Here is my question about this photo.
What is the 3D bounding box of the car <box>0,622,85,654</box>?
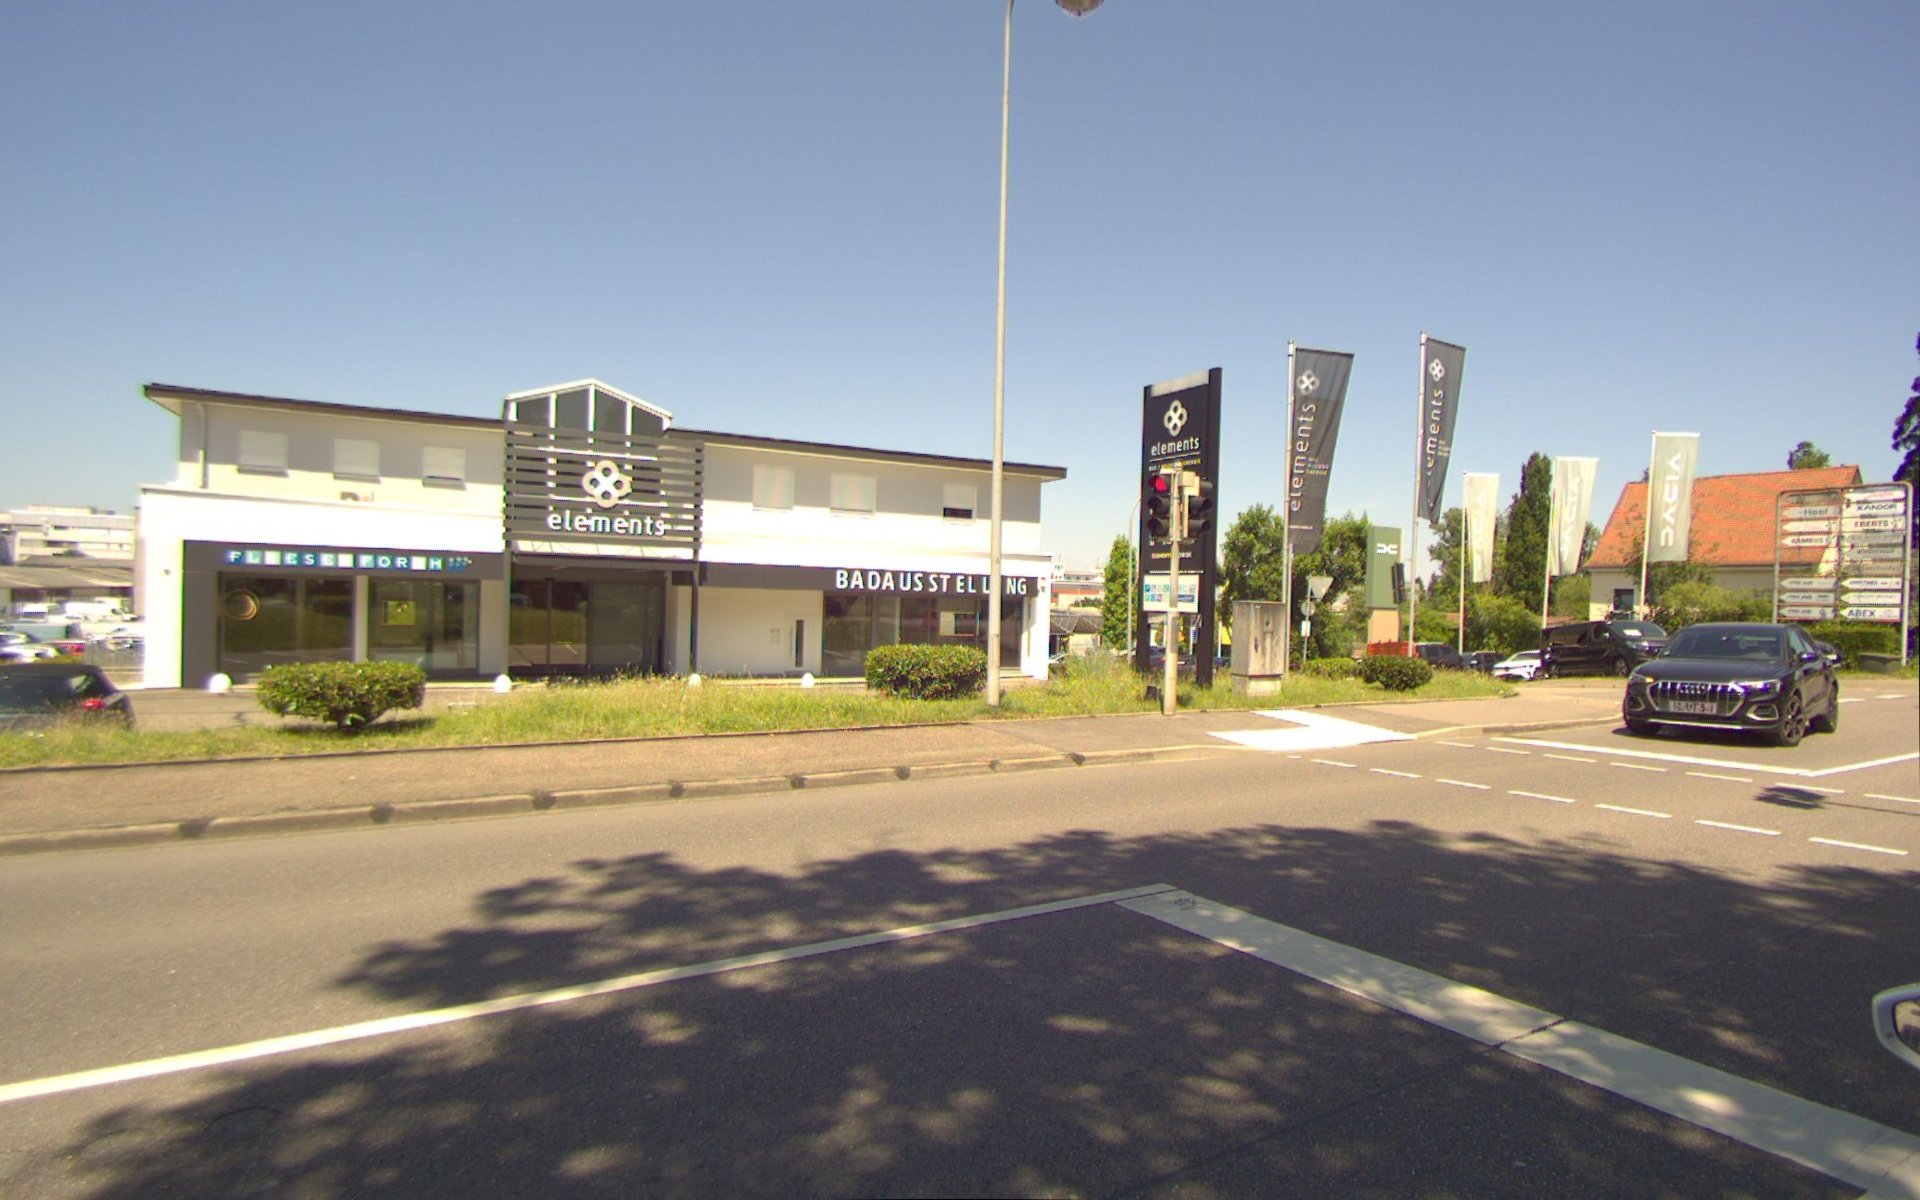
[{"bbox_3d":[-54.987,2.244,59.845,3.953,1.839,1.984,2,-1,-30],"label":"car"}]

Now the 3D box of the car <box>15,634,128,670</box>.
[{"bbox_3d":[-44.805,2.623,50.765,3.953,1.657,1.835,2,-1,-30],"label":"car"}]

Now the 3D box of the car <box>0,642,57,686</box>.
[{"bbox_3d":[-40.984,2.696,42.514,3.773,1.750,1.738,2,0,-30],"label":"car"}]

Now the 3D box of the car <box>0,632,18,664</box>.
[{"bbox_3d":[-52.434,2.488,52.754,3.953,1.627,1.823,2,0,-30],"label":"car"}]

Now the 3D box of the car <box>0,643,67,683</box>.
[{"bbox_3d":[-41.683,2.758,44.069,3.427,1.613,1.712,2,0,-30],"label":"car"}]

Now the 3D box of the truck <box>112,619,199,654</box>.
[{"bbox_3d":[-49.488,2.263,61.888,3.938,2.003,1.672,2,0,-31],"label":"truck"}]

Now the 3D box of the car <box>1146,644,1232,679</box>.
[{"bbox_3d":[10.933,2.918,48.218,1.736,1.432,3.967,2,0,-30],"label":"car"}]

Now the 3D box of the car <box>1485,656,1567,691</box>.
[{"bbox_3d":[23.591,3.037,41.865,3.211,1.242,1.735,1,0,-35],"label":"car"}]

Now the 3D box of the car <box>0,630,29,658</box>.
[{"bbox_3d":[-55.199,2.461,56.378,3.953,1.494,1.742,2,0,-30],"label":"car"}]

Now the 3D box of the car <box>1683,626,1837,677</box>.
[{"bbox_3d":[24.792,1.571,31.214,1.586,1.446,3.466,2,-1,-36],"label":"car"}]

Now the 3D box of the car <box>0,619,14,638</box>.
[{"bbox_3d":[-73.417,2.131,75.450,3.090,1.403,1.672,2,0,-30],"label":"car"}]

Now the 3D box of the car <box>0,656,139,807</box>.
[{"bbox_3d":[-11.468,1.486,12.039,1.756,1.442,3.327,1,0,-26],"label":"car"}]

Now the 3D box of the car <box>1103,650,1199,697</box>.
[{"bbox_3d":[8.261,3.163,43.849,1.862,1.740,4.279,2,0,-28],"label":"car"}]

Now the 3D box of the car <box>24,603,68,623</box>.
[{"bbox_3d":[-90.029,1.300,98.967,1.972,1.853,3.977,2,0,-23],"label":"car"}]

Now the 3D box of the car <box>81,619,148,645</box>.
[{"bbox_3d":[-55.721,2.121,66.248,3.090,1.553,1.672,2,0,-30],"label":"car"}]

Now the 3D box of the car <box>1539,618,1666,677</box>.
[{"bbox_3d":[20.656,1.495,32.367,1.561,1.736,3.119,2,0,-40],"label":"car"}]

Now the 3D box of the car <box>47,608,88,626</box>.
[{"bbox_3d":[-84.796,1.561,95.488,1.975,1.617,3.972,1,-1,-27],"label":"car"}]

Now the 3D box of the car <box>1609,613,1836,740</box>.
[{"bbox_3d":[11.057,1.040,14.463,4.277,1.546,1.904,3,-3,-43],"label":"car"}]
